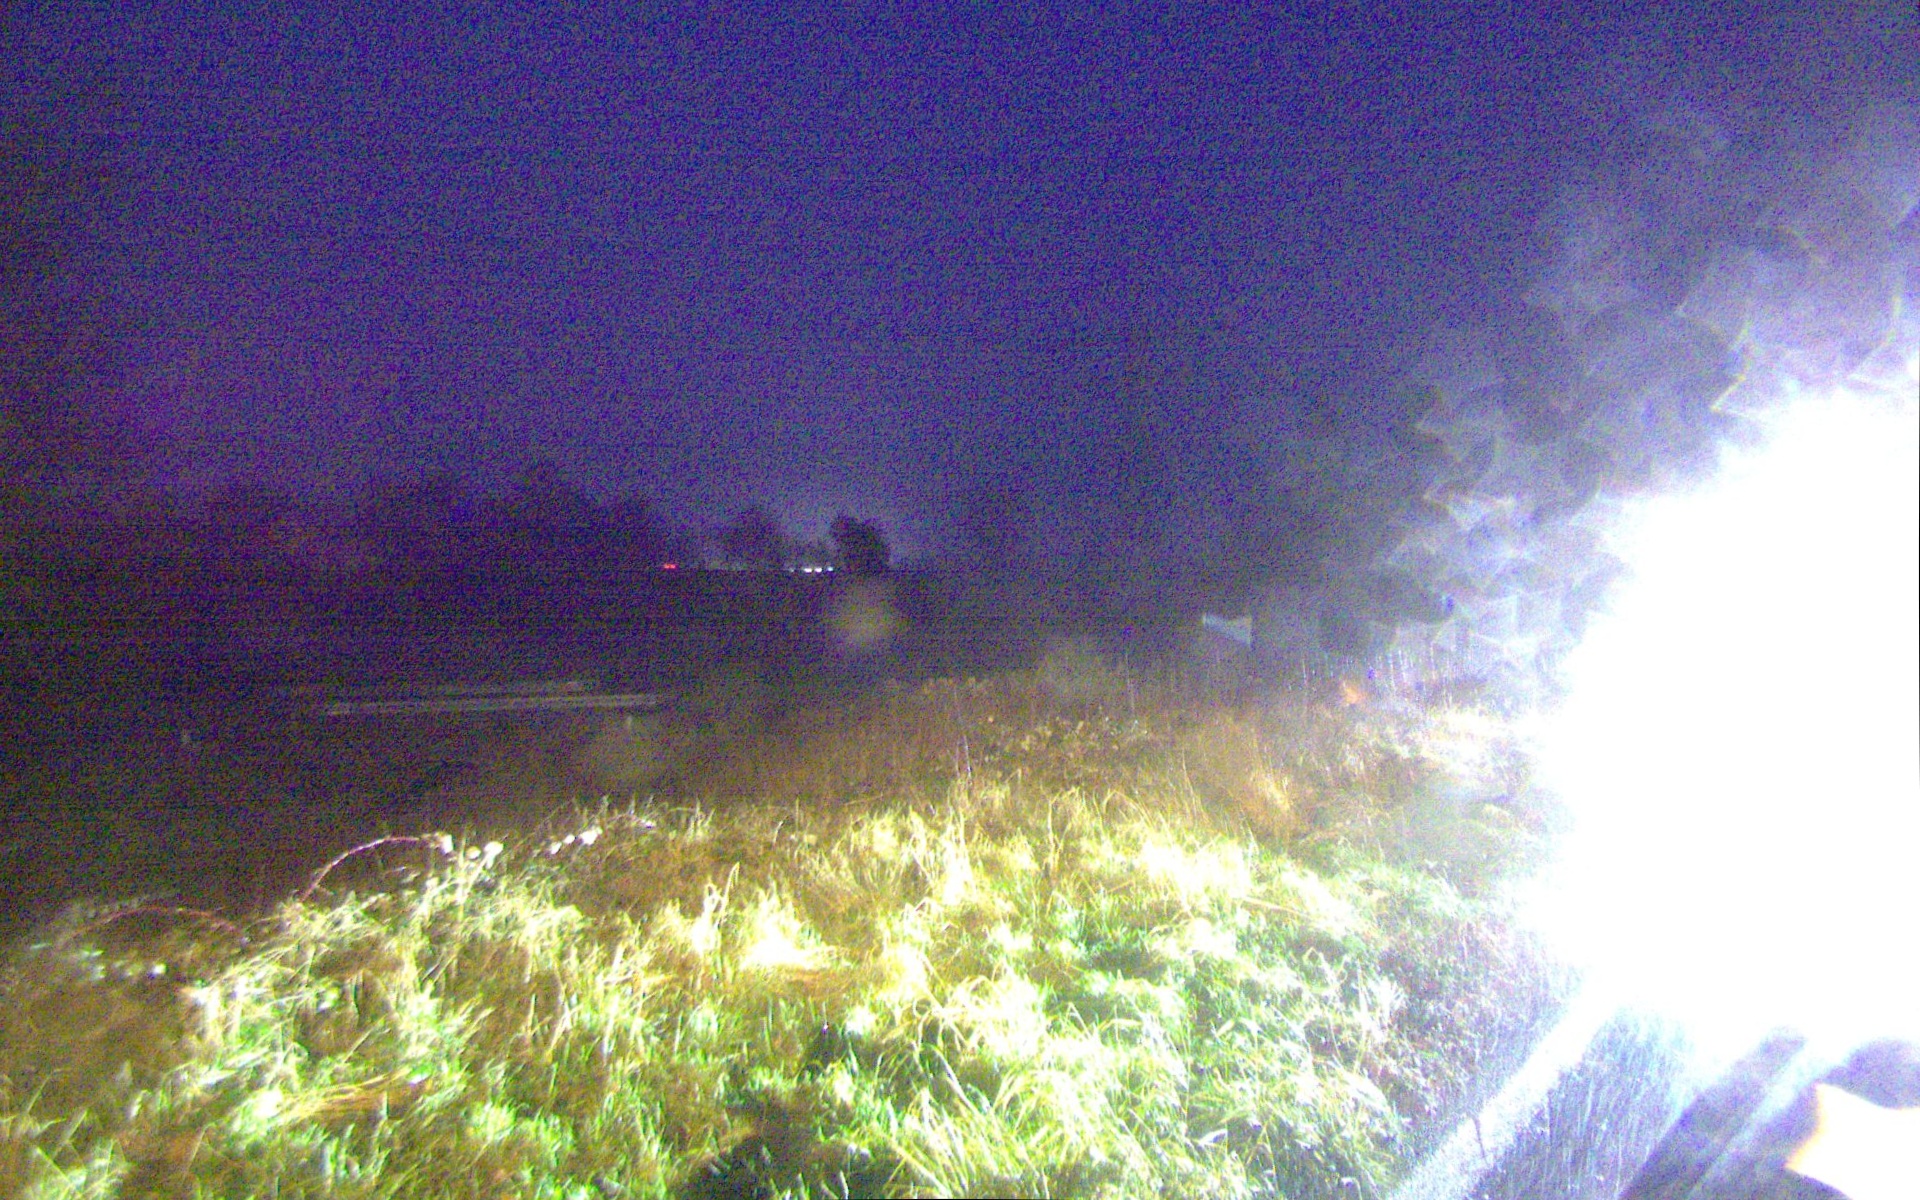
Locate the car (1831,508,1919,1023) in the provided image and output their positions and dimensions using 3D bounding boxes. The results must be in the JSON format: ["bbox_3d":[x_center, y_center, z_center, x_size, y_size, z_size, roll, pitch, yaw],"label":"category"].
[{"bbox_3d":[5.687,0.606,4.755,4.296,1.949,2.000,-1,1,-43],"label":"car"}]
